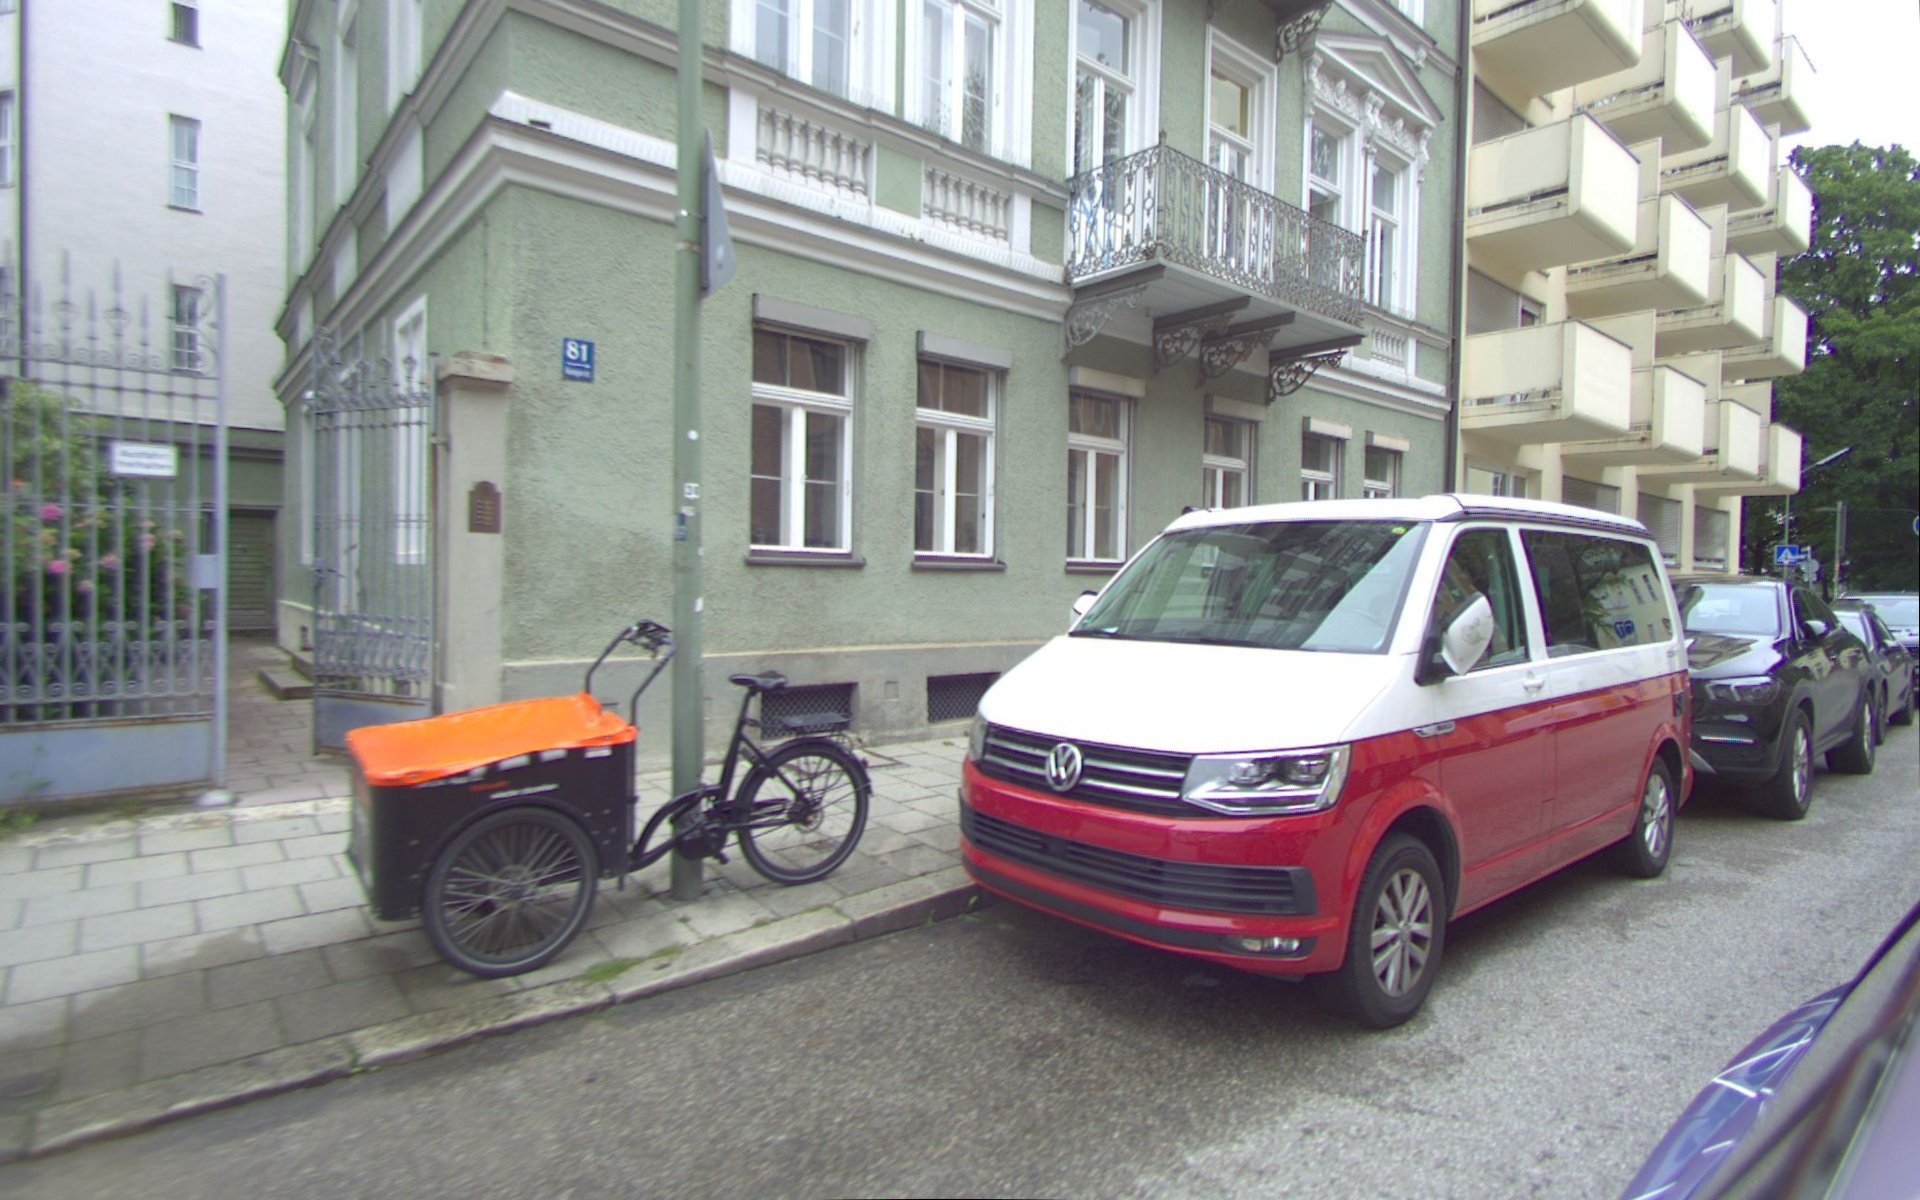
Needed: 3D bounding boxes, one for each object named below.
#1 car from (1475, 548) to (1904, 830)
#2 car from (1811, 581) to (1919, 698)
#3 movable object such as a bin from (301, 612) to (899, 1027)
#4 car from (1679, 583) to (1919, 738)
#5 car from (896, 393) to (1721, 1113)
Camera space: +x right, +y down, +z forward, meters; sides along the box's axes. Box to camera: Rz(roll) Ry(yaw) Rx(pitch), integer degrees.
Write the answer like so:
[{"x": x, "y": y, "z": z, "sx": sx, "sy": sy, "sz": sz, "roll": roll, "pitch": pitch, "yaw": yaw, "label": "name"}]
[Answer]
[{"x": 6.240, "y": 0.527, "z": 8.429, "sx": 4.615, "sy": 1.732, "sz": 1.859, "roll": 0, "pitch": 1, "yaw": -40, "label": "car"}, {"x": 14.895, "y": 0.566, "z": 15.867, "sx": 4.189, "sy": 1.637, "sz": 1.770, "roll": 0, "pitch": 1, "yaw": -41, "label": "car"}, {"x": -1.430, "y": 0.705, "z": 4.246, "sx": 2.125, "sy": 1.207, "sz": 1.023, "roll": 0, "pitch": 4, "yaw": -40, "label": "movable object such as a bin"}, {"x": 10.350, "y": 0.605, "z": 12.228, "sx": 4.261, "sy": 1.485, "sz": 1.752, "roll": 0, "pitch": 2, "yaw": -41, "label": "car"}, {"x": 2.110, "y": 0.431, "z": 5.144, "sx": 4.699, "sy": 2.056, "sz": 1.857, "roll": 0, "pitch": 0, "yaw": -41, "label": "car"}]
